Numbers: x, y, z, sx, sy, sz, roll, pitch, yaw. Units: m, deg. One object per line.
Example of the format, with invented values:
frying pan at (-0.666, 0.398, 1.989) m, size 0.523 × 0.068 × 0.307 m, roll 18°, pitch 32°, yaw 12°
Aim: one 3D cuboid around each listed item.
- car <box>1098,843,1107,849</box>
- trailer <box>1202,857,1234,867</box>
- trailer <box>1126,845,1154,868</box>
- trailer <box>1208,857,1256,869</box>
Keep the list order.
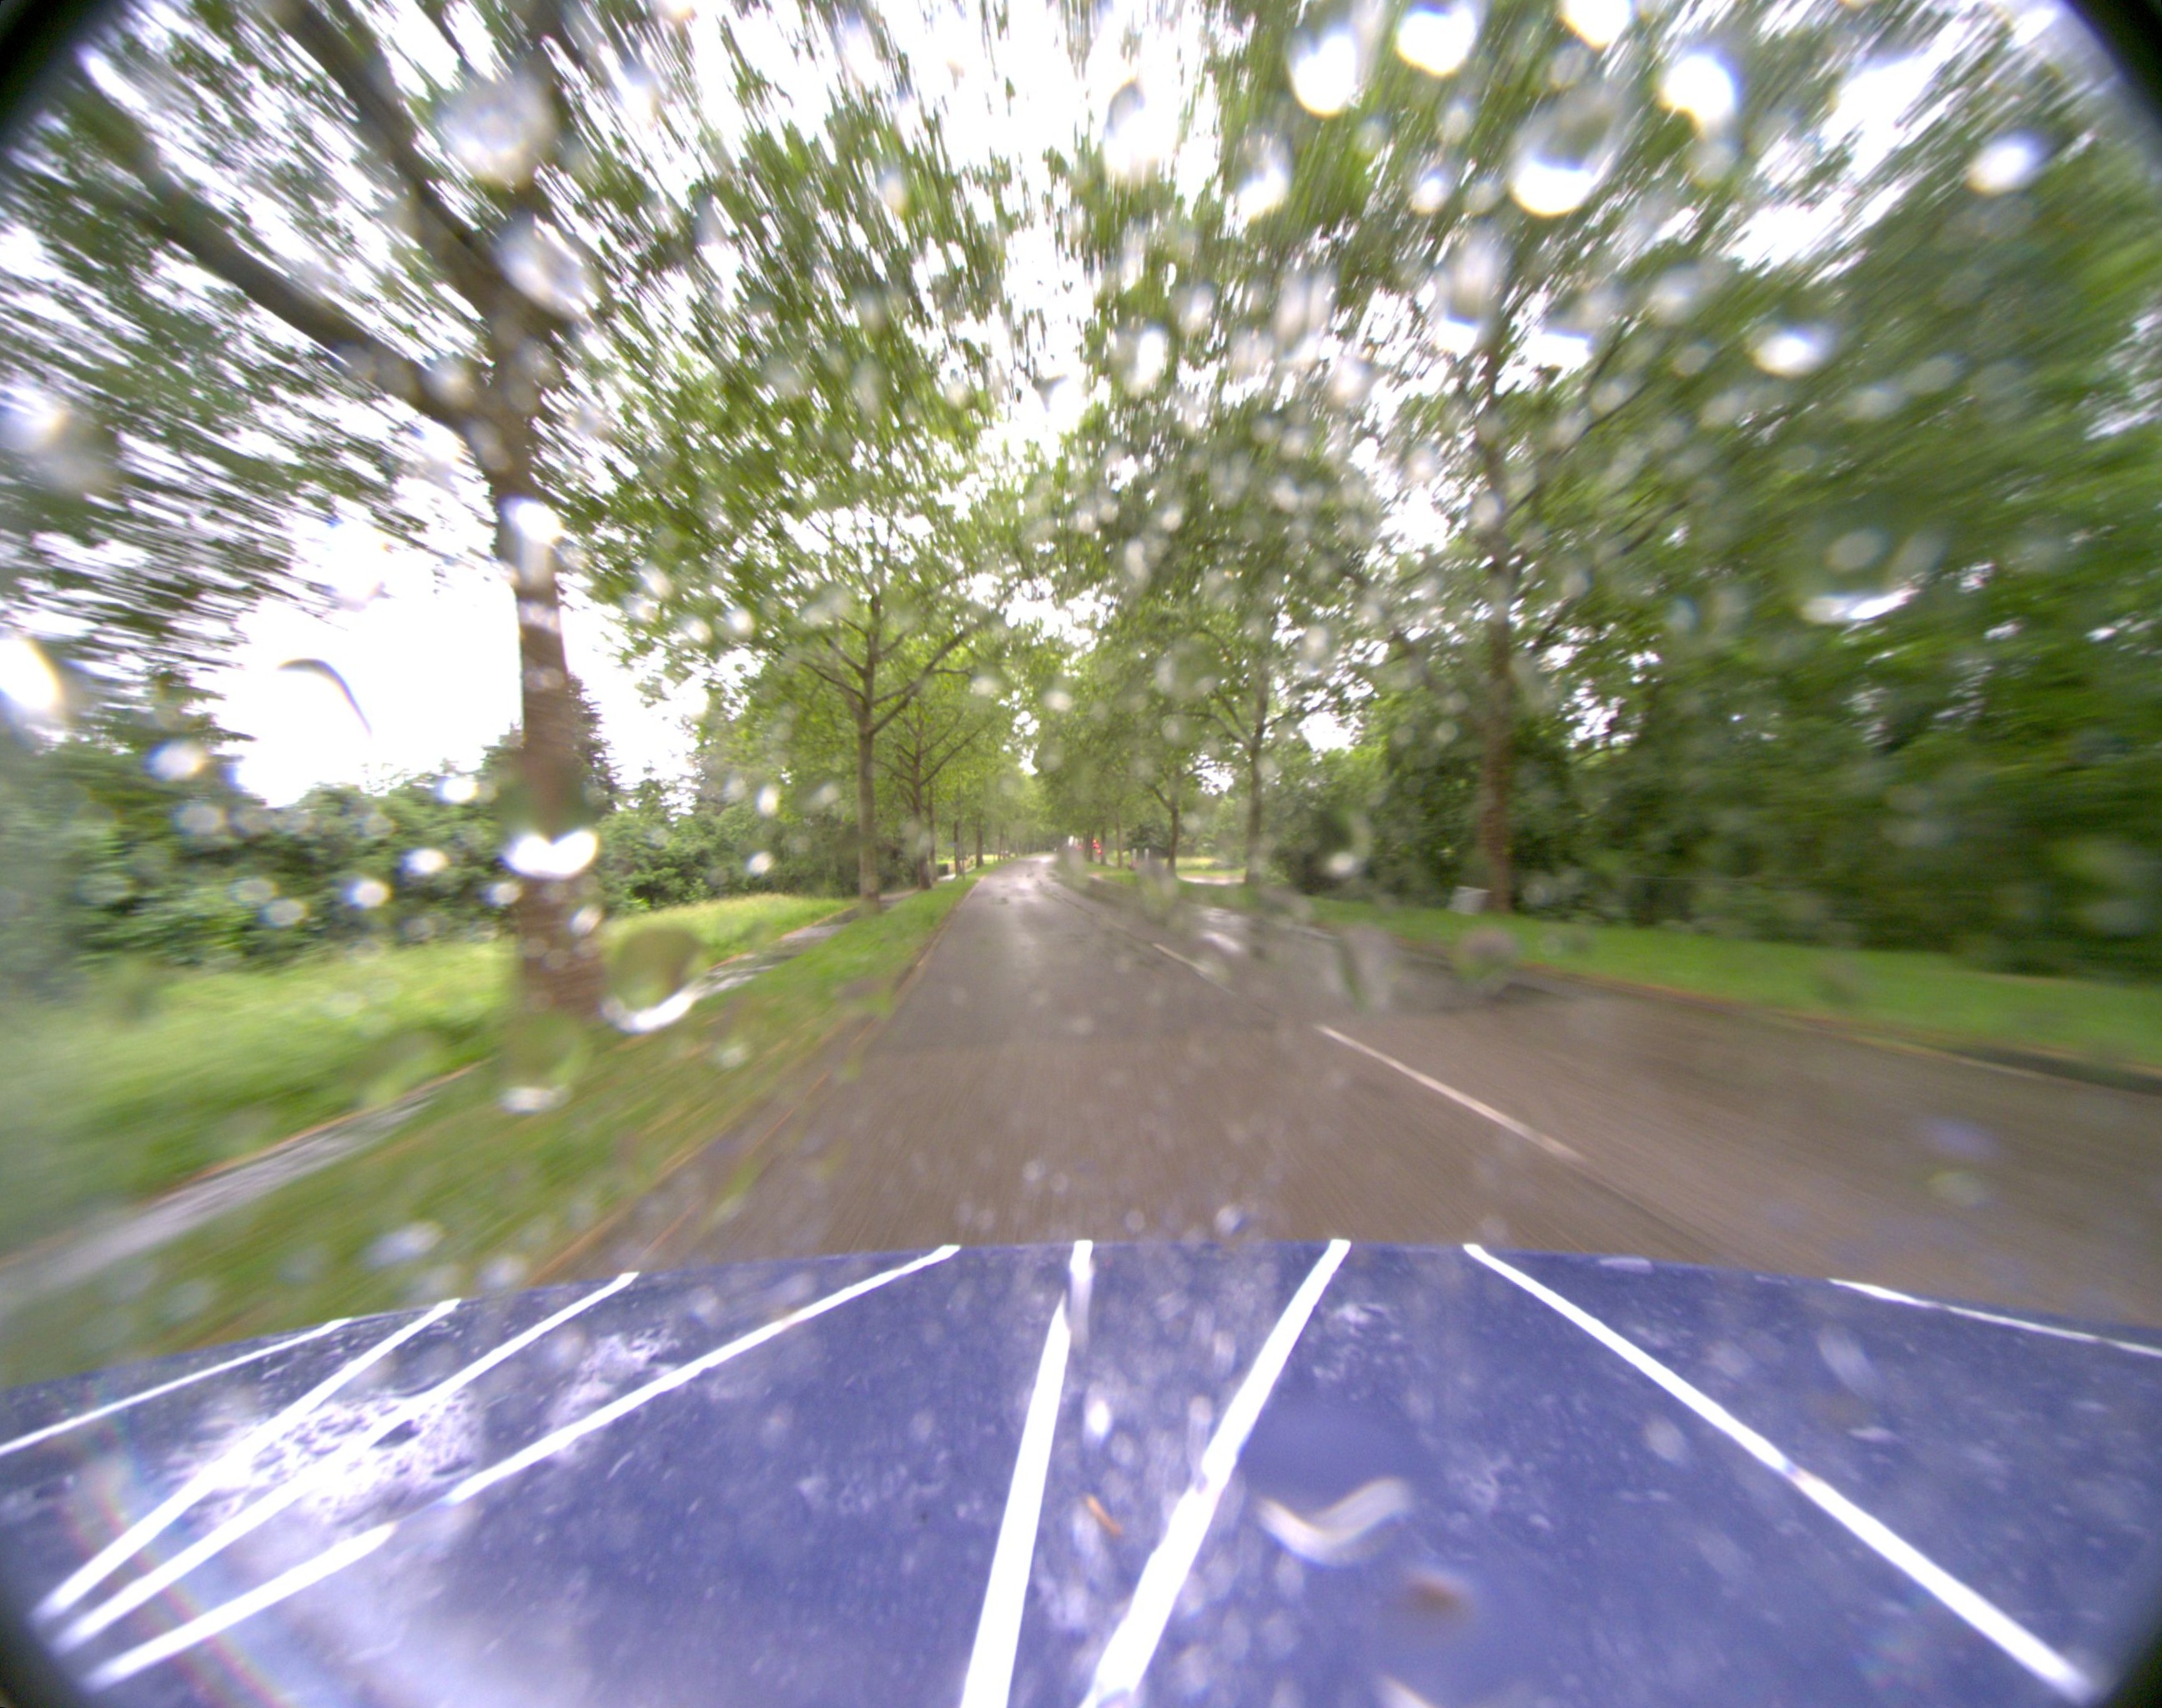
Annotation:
car at (6.279, -2.279, 217.703) m, size 1.897 × 1.673 × 4.002 m, roll -1°, pitch 1°, yaw 11°
trailer at (14.583, 0.872, 81.080) m, size 3.084 × 0.939 × 1.767 m, roll -1°, pitch 1°, yaw -3°
trailer at (7.361, 0.276, 95.415) m, size 2.805 × 2.648 × 6.649 m, roll -1°, pitch 1°, yaw -2°
trailer at (15.430, 0.888, 77.860) m, size 4.329 × 1.026 × 2.380 m, roll -2°, pitch 1°, yaw -5°
